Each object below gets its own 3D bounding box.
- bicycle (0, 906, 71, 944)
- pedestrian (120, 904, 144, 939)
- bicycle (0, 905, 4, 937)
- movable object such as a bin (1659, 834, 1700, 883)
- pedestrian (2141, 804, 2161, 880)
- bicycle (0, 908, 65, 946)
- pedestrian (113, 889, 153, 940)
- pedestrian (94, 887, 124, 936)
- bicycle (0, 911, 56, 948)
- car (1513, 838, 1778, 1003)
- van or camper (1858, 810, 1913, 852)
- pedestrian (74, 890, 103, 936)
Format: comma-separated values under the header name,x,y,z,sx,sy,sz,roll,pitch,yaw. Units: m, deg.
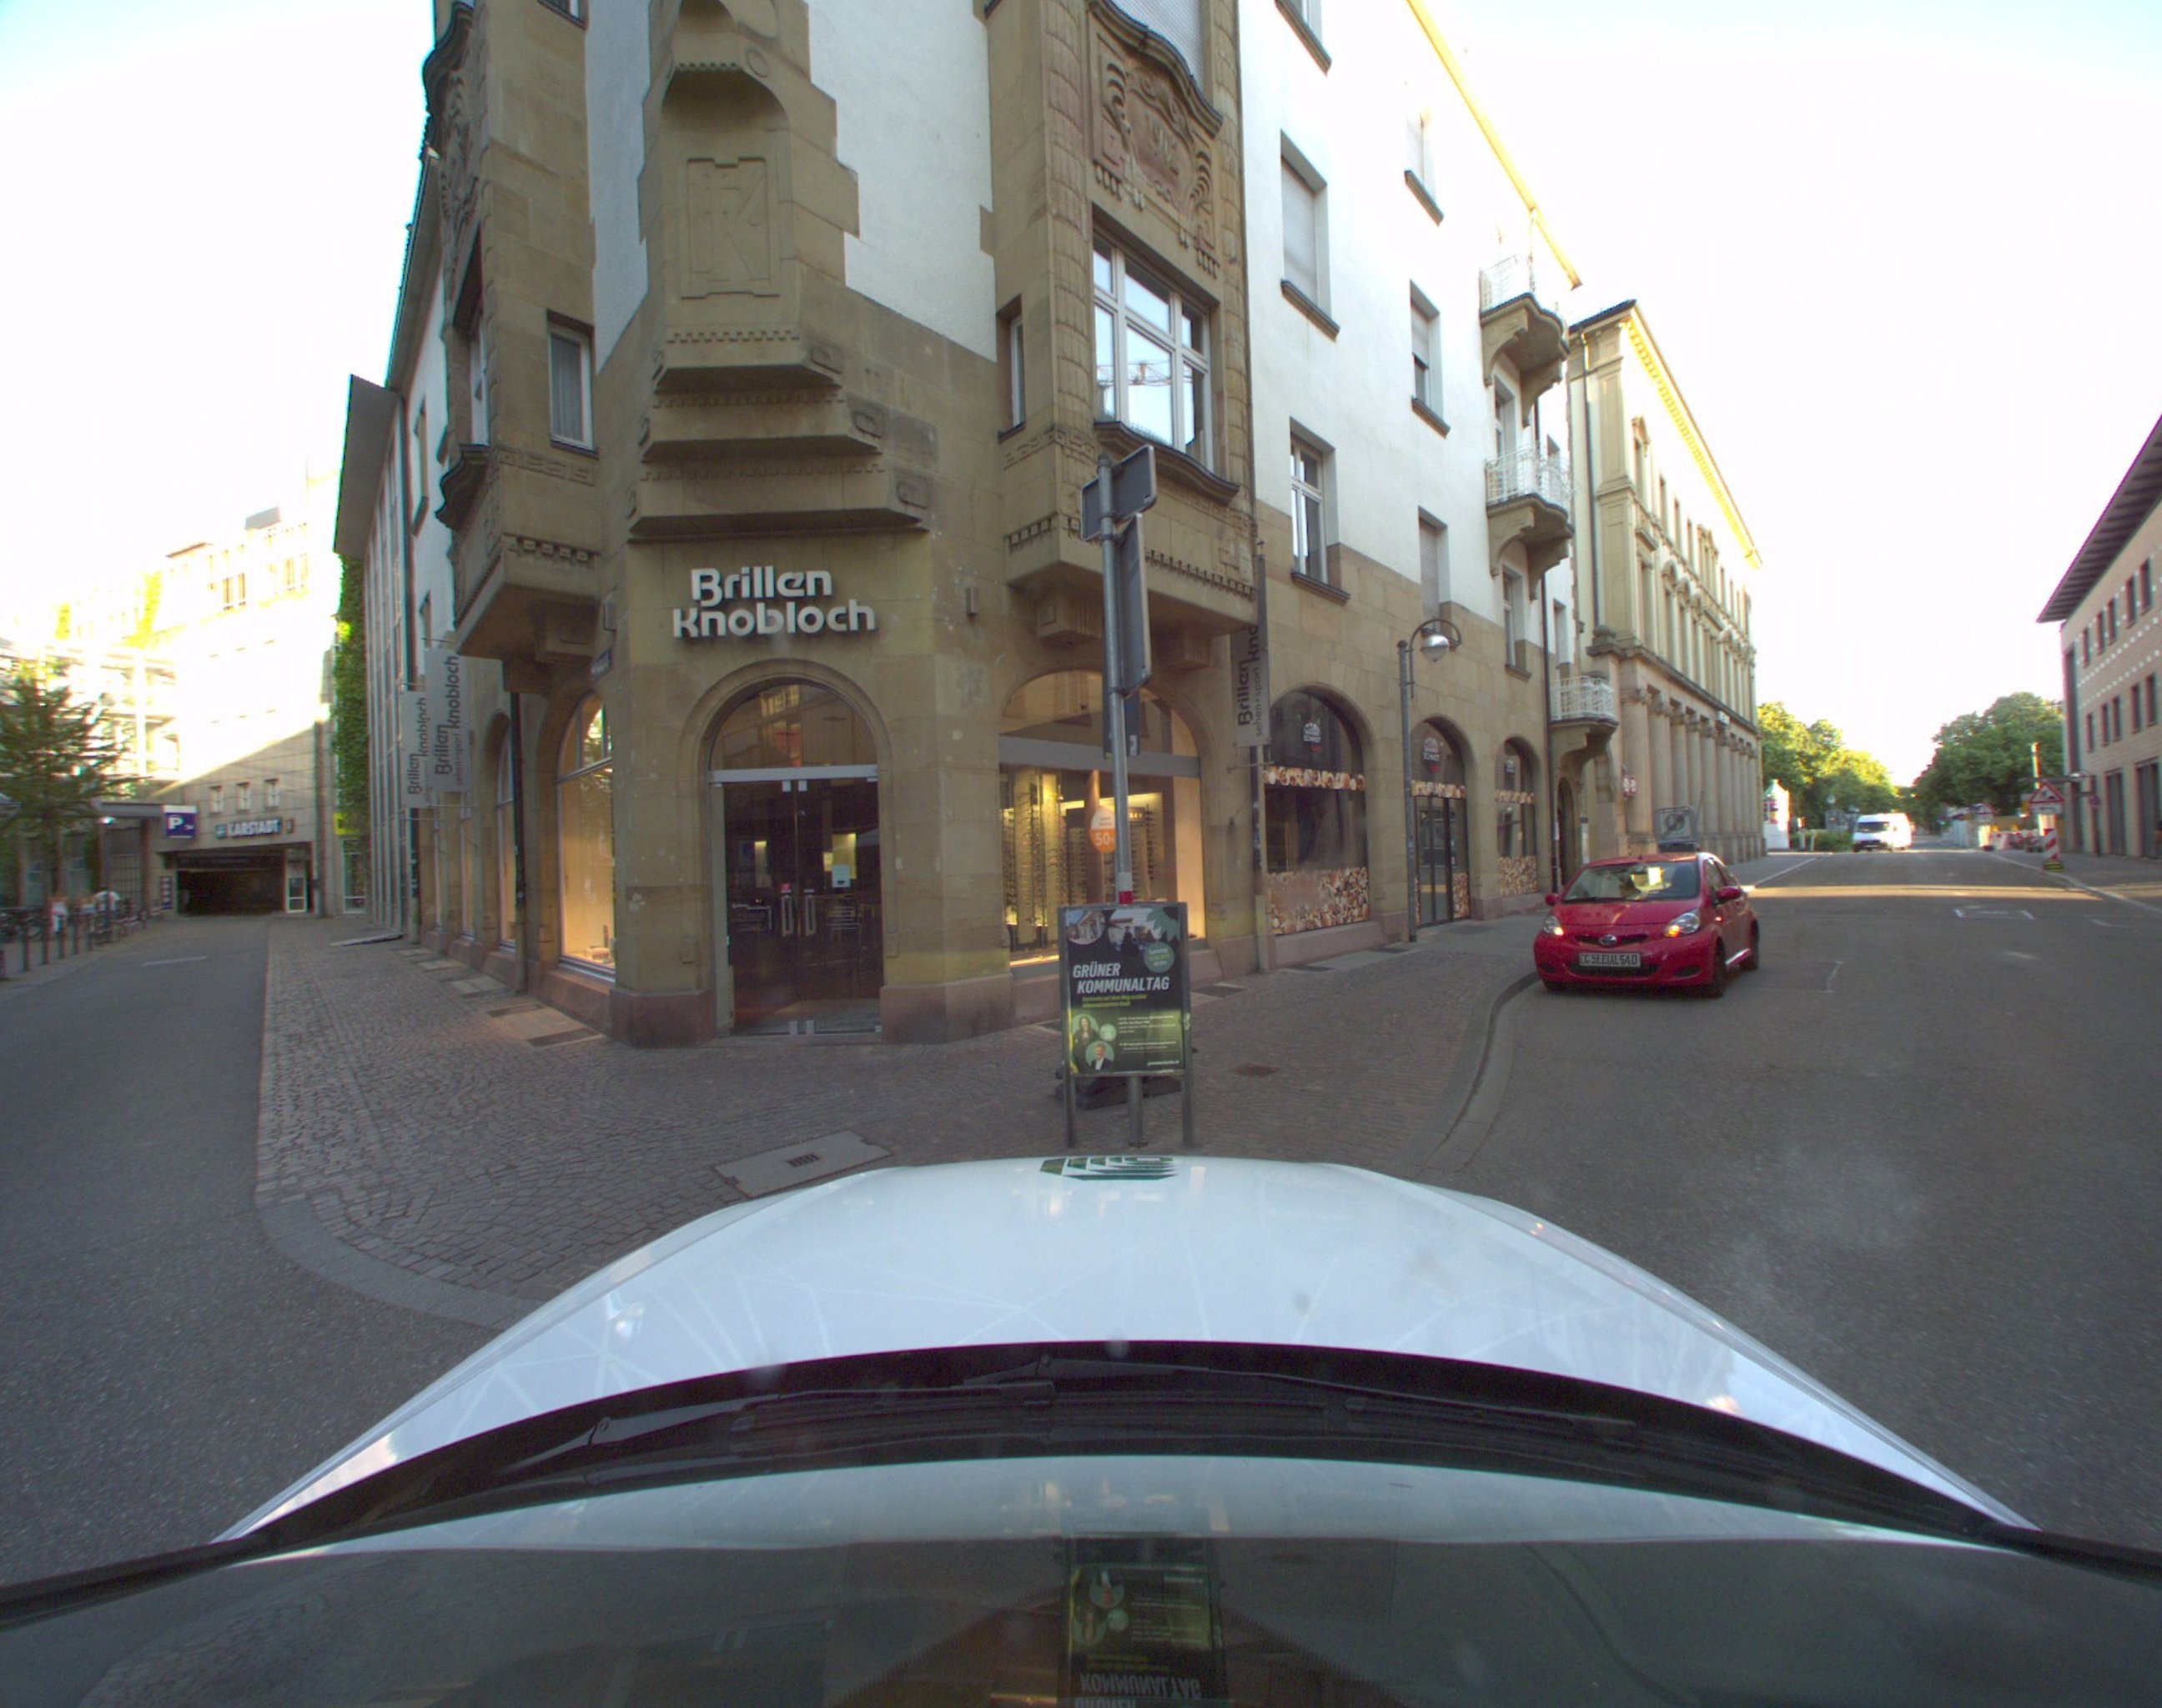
name,x,y,z,sx,sy,sz,roll,pitch,yaw
bicycle,-36.894,2.472,27.886,0.724,1.200,2.783,-2,0,27
pedestrian,-32.891,2.334,28.226,0.470,1.168,0.515,-1,-2,-44
bicycle,-41.446,2.549,29.517,0.724,1.200,2.783,-2,0,27
movable object such as a bin,19.278,0.143,26.230,1.298,1.503,0.821,-2,0,-44
pedestrian,26.535,-0.330,19.591,0.887,1.803,0.991,-1,-5,-45
bicycle,-38.018,2.618,28.613,0.724,1.200,2.783,-2,0,27
pedestrian,-34.187,2.160,29.376,0.871,1.757,0.789,-1,-2,-44
pedestrian,-36.383,2.142,30.482,0.636,1.757,0.789,-1,-2,-44
bicycle,-38.952,2.753,29.102,0.724,1.200,2.783,-2,0,27
car,6.648,0.634,9.419,3.954,1.470,1.642,-2,-3,-43
van or camper,53.462,-1.556,54.079,6.407,2.585,2.199,-2,0,-42
pedestrian,-36.018,2.131,29.557,0.590,1.604,0.620,-1,-2,-44
